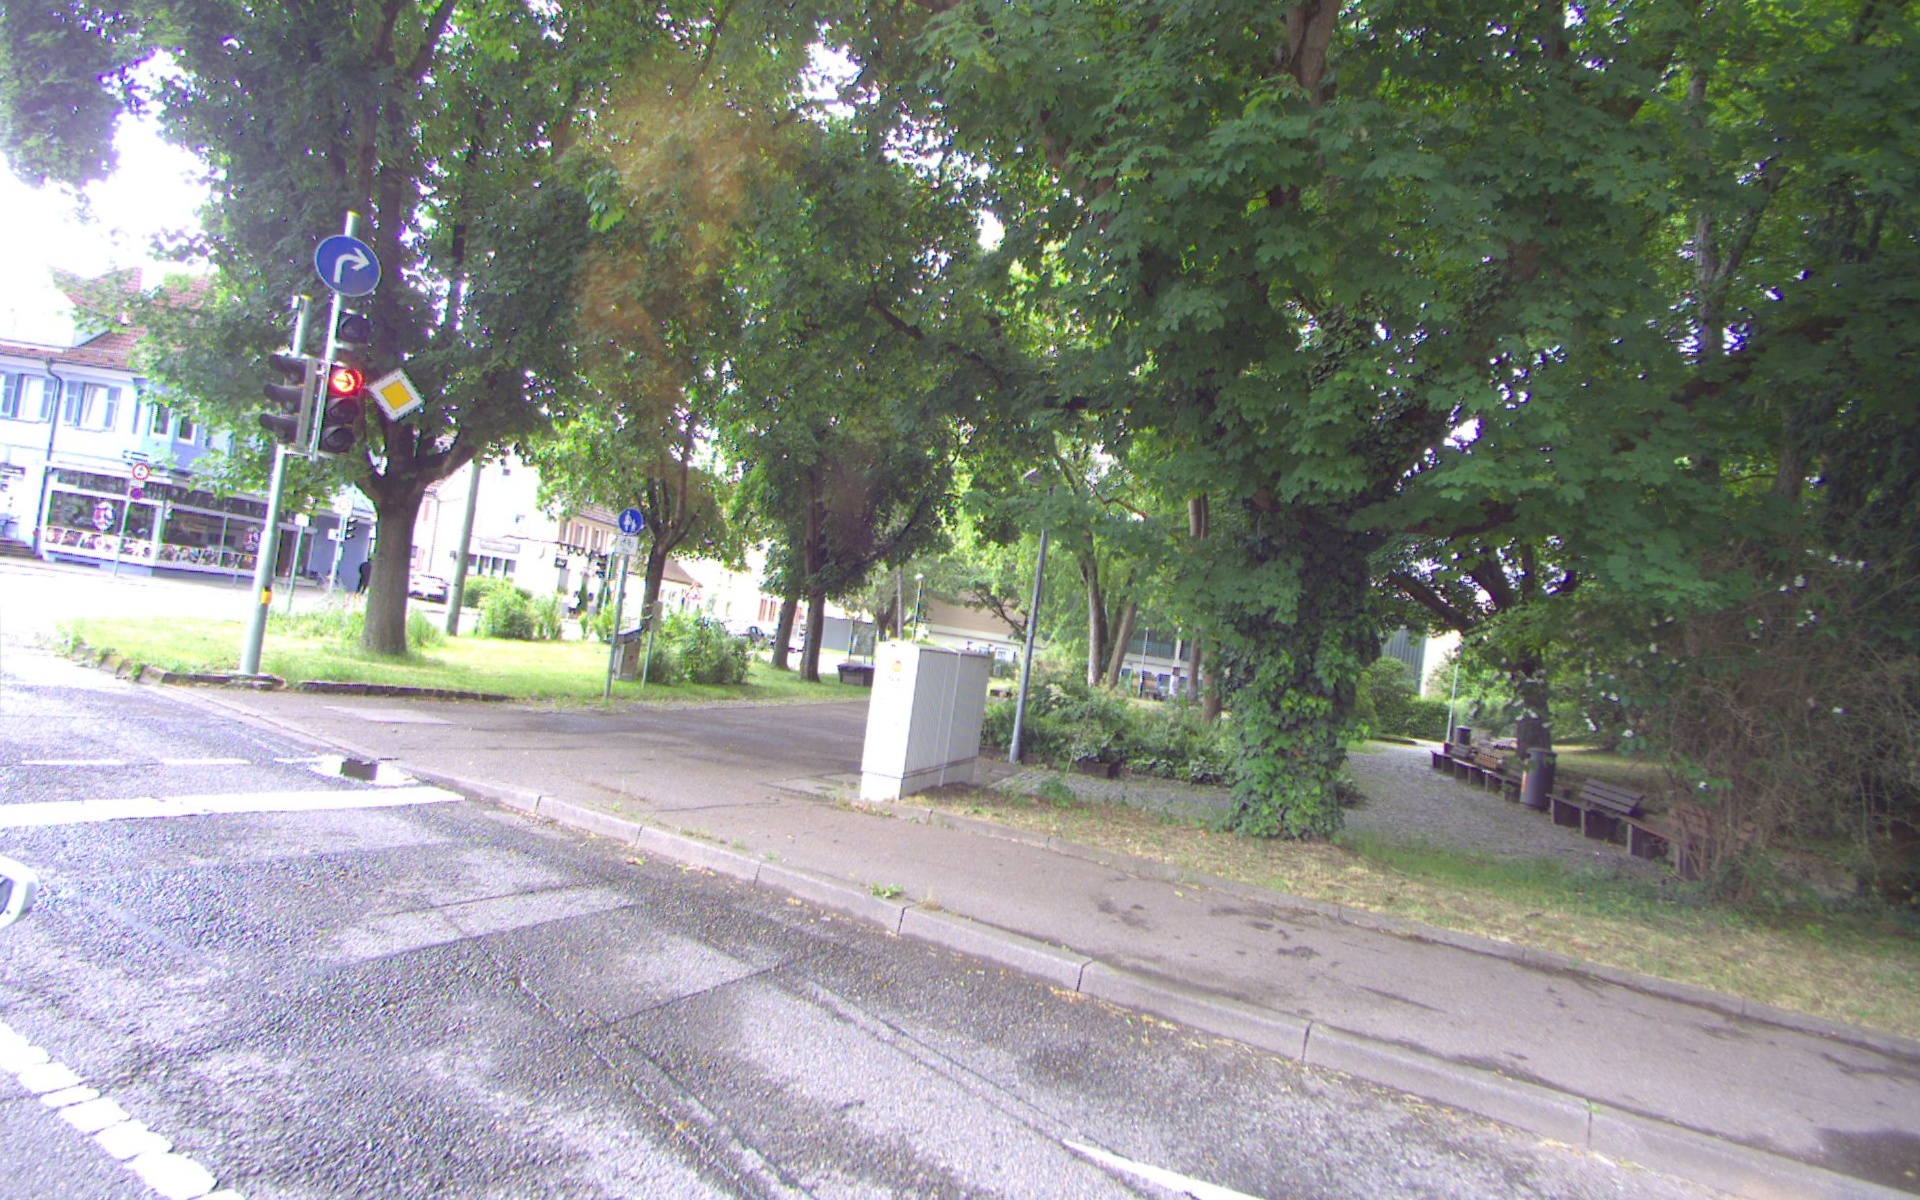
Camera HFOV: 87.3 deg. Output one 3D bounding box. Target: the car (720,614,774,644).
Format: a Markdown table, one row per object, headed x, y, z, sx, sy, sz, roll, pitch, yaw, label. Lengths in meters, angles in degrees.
| x | y | z | sx | sy | sz | roll | pitch | yaw | label |
| --- | --- | --- | --- | --- | --- | --- | --- | --- | --- |
| -11.563 | 1.600 | 54.818 | 1.530 | 1.336 | 3.514 | 7 | -2 | 9 | car |

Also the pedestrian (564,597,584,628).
| x | y | z | sx | sy | sz | roll | pitch | yaw | label |
| --- | --- | --- | --- | --- | --- | --- | --- | --- | --- |
| -21.710 | 0.703 | 56.587 | 0.600 | 1.668 | 0.610 | 7 | -1 | 4 | pedestrian |

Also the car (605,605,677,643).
| x | y | z | sx | sy | sz | roll | pitch | yaw | label |
| --- | --- | --- | --- | --- | --- | --- | --- | --- | --- |
| -14.004 | 1.093 | 44.354 | 1.530 | 1.336 | 3.514 | 7 | -2 | 9 | car |

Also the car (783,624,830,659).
| x | y | z | sx | sy | sz | roll | pitch | yaw | label |
| --- | --- | --- | --- | --- | --- | --- | --- | --- | --- |
| -10.051 | 2.762 | 66.172 | 1.750 | 2.037 | 4.005 | 7 | -2 | 7 | car |

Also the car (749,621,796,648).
| x | y | z | sx | sy | sz | roll | pitch | yaw | label |
| --- | --- | --- | --- | --- | --- | --- | --- | --- | --- |
| -11.162 | 2.074 | 60.103 | 1.530 | 1.336 | 3.514 | 7 | -2 | 8 | car |

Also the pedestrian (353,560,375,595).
| x | y | z | sx | sy | sz | roll | pitch | yaw | label |
| --- | --- | --- | --- | --- | --- | --- | --- | --- | --- |
| -27.187 | -1.019 | 45.897 | 0.576 | 1.535 | 0.460 | 7 | -1 | 11 | pedestrian |

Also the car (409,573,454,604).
| x | y | z | sx | sy | sz | roll | pitch | yaw | label |
| --- | --- | --- | --- | --- | --- | --- | --- | --- | --- |
| -27.865 | -0.599 | 53.141 | 1.479 | 1.384 | 3.166 | 8 | -2 | -19 | car |

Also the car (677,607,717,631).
| x | y | z | sx | sy | sz | roll | pitch | yaw | label |
| --- | --- | --- | --- | --- | --- | --- | --- | --- | --- |
| -19.366 | 1.447 | 74.246 | 1.528 | 1.436 | 4.005 | 7 | -2 | 4 | car |
